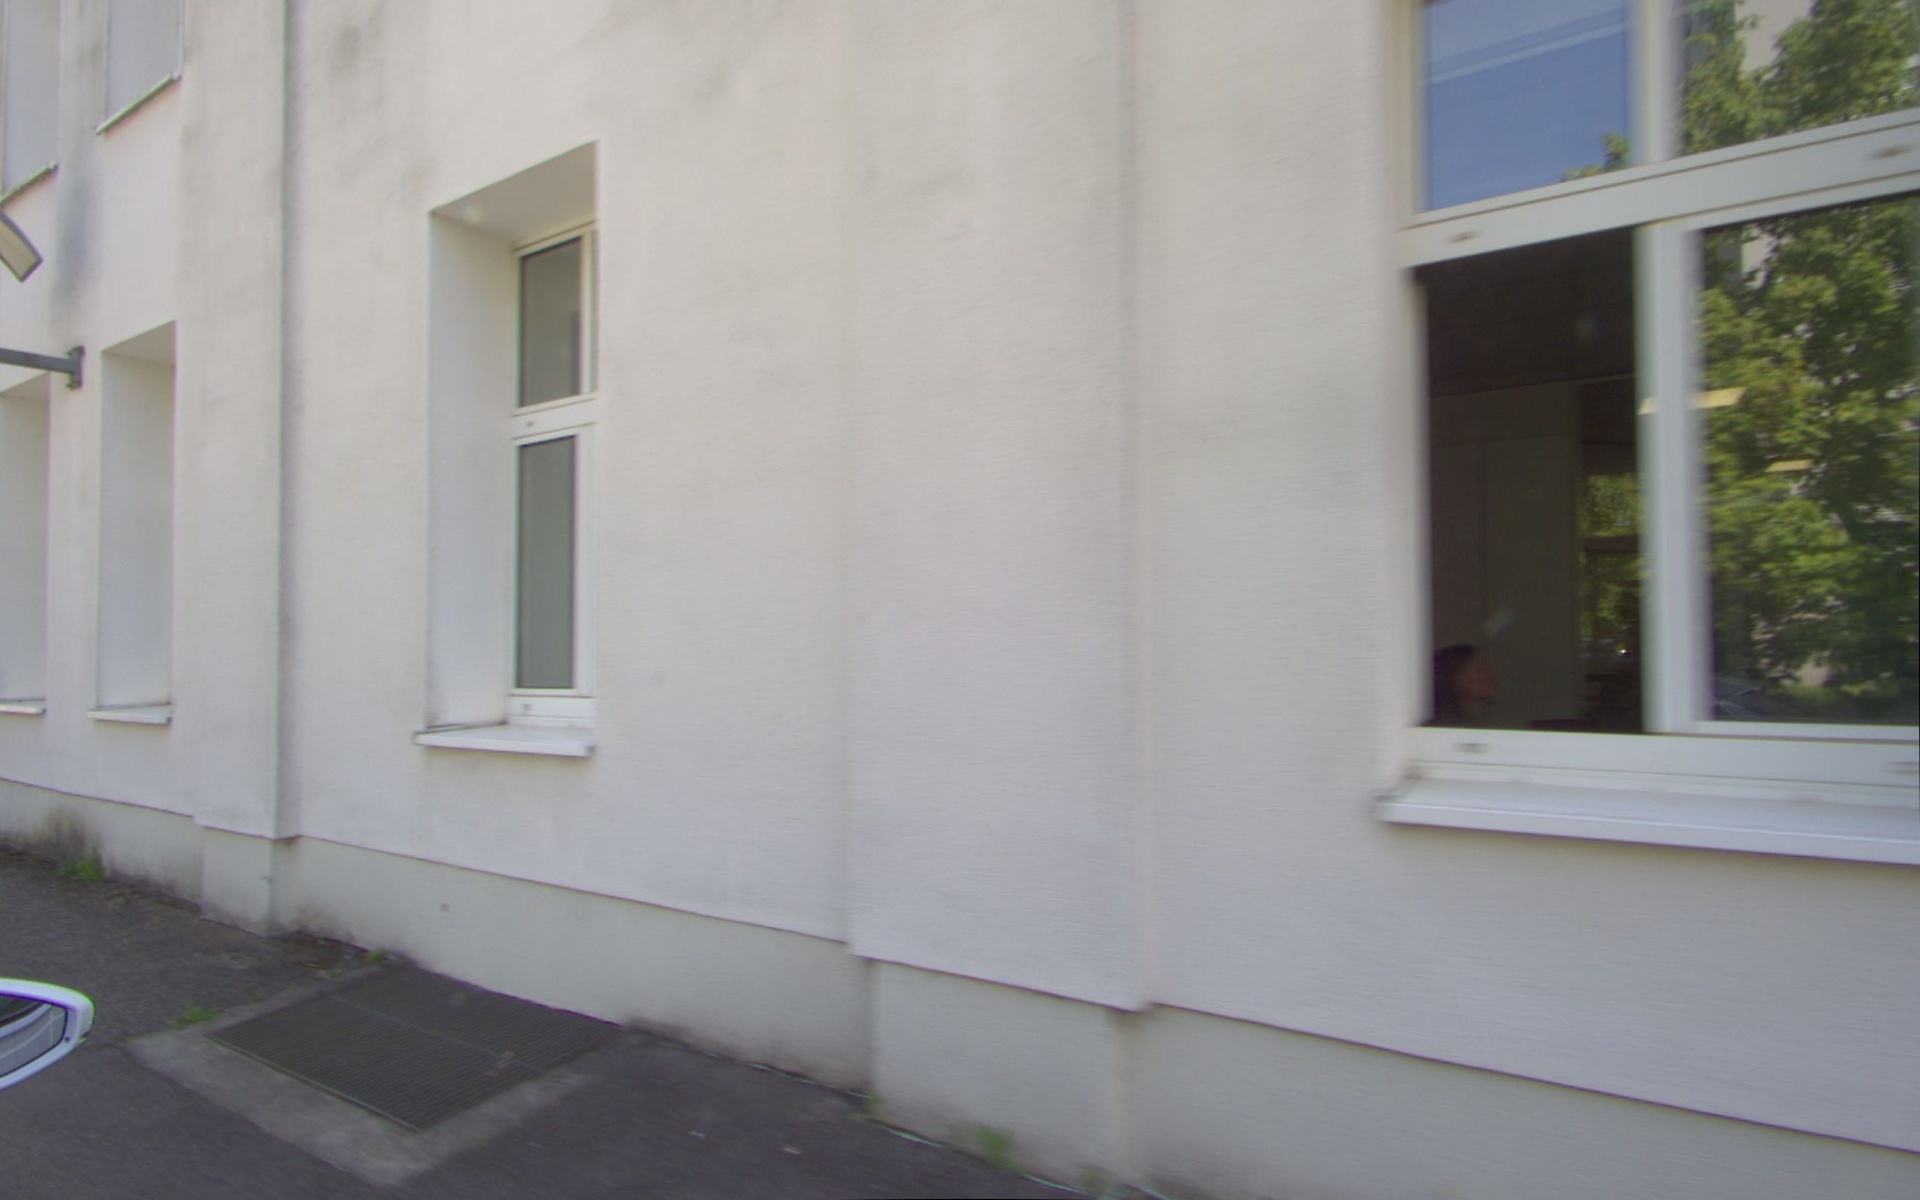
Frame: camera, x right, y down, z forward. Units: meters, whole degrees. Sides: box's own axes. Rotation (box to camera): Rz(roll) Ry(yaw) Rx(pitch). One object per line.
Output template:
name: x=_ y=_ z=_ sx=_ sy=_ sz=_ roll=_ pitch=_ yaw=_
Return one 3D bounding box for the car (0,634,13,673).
car: x=-58.372 y=3.204 z=59.674 sx=2.164 sy=2.286 sz=4.838 roll=1 pitch=-3 yaw=-36

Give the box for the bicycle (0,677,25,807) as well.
bicycle: x=-9.093 y=1.270 z=9.123 sx=1.801 sy=1.115 sz=0.404 roll=-3 pitch=-3 yaw=33
